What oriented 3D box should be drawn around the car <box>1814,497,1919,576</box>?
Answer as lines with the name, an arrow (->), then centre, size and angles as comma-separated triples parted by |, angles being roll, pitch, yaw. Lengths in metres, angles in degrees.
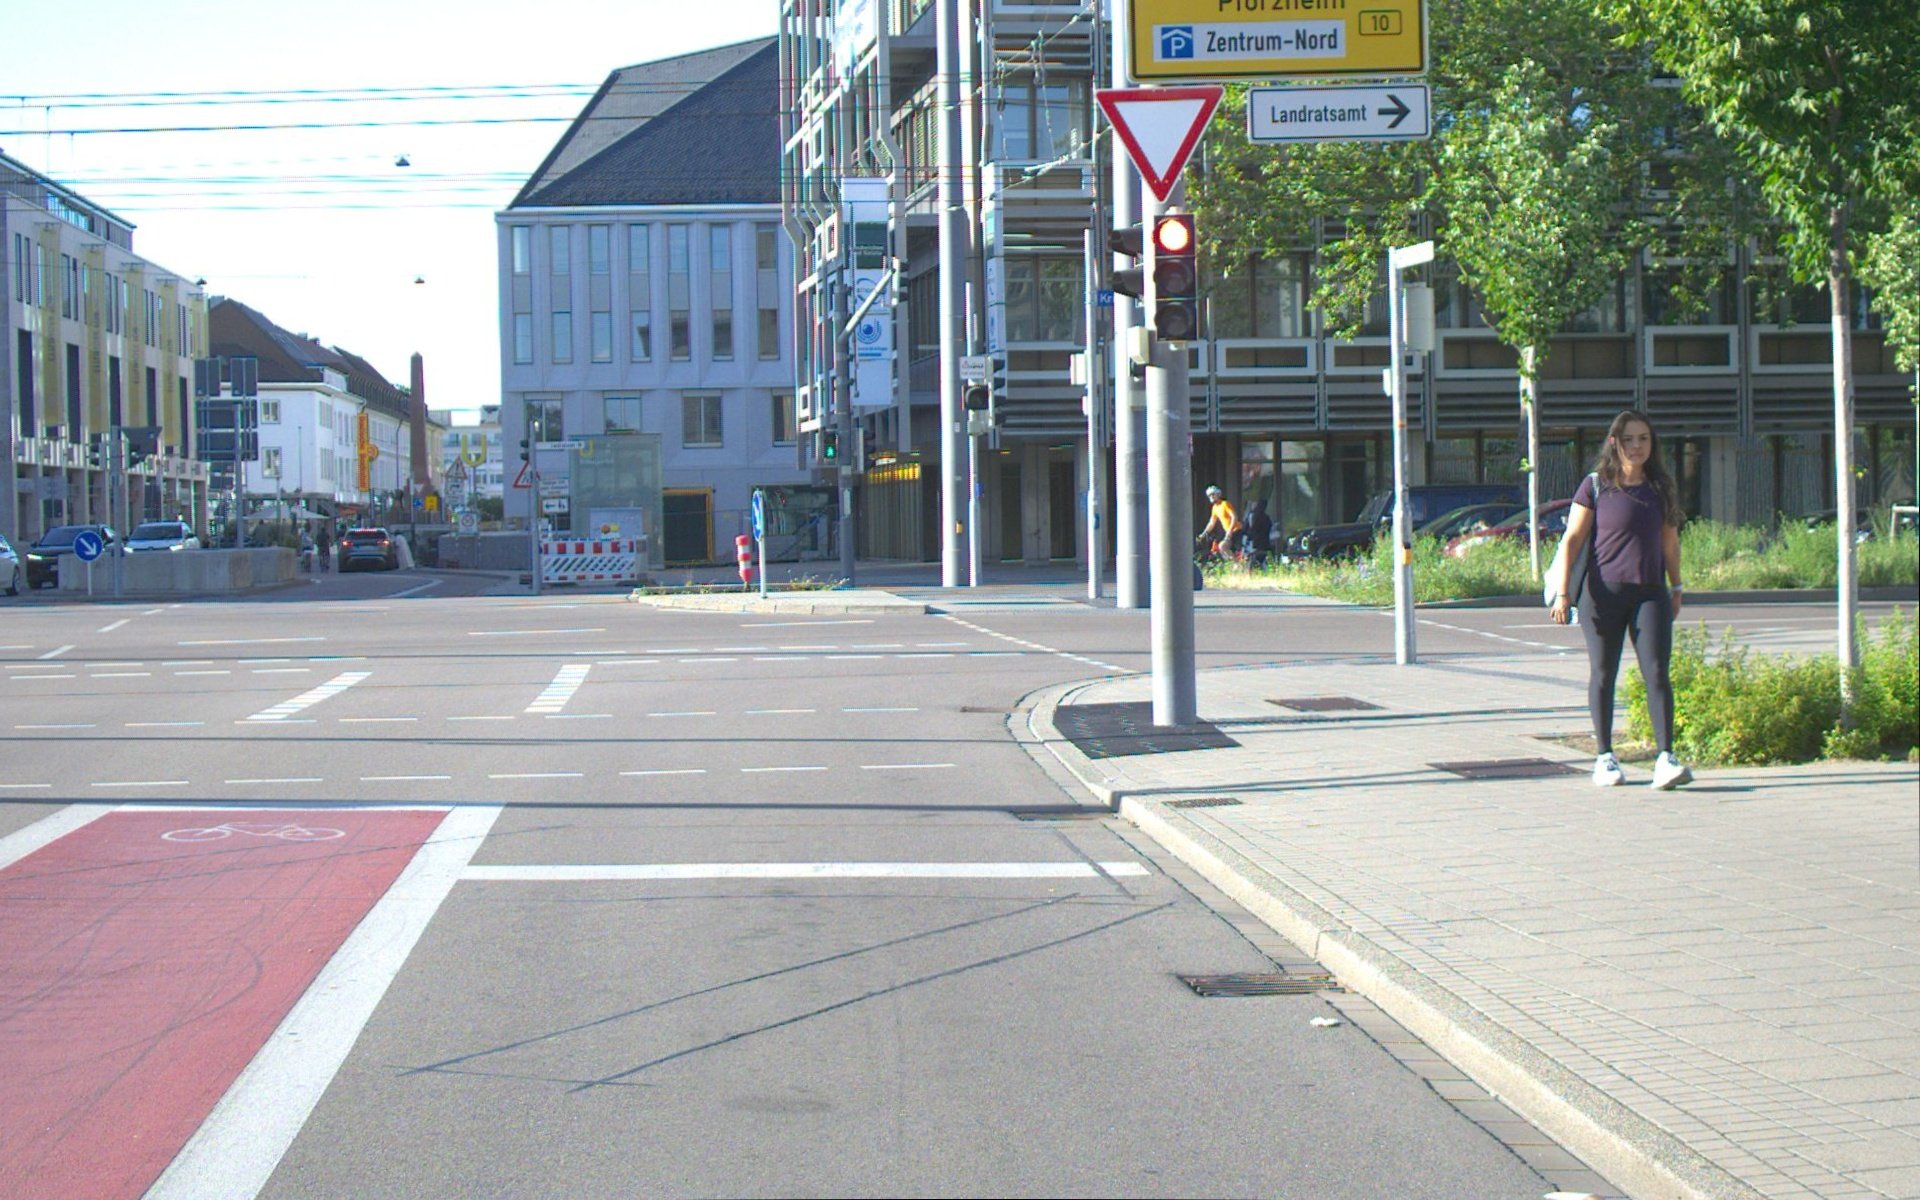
car -> 18.267, -1.205, 63.110 | 4.630, 1.351, 2.001 | -1, 3, -7

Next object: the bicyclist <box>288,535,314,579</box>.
bicyclist -> -22.041, -1.443, 115.022 | 0.746, 1.456, 0.767 | -1, 1, -6

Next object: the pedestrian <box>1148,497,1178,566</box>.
pedestrian -> 4.516, -1.528, 76.611 | 0.623, 1.513, 0.653 | -1, 1, 5

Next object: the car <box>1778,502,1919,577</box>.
car -> 18.476, -1.204, 66.749 | 4.630, 1.351, 2.001 | -1, 3, -7

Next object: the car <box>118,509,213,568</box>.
car -> -22.922, -1.791, 99.340 | 1.993, 1.617, 4.239 | -1, 2, -4

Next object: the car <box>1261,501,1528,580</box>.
car -> 8.177, -1.143, 64.893 | 4.630, 1.351, 2.001 | -1, 3, -7

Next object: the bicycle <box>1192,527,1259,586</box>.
bicycle -> 4.478, -0.732, 58.020 | 1.076, 0.967, 0.458 | -1, 1, -1

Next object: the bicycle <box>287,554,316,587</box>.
bicycle -> -22.038, -0.998, 115.099 | 0.741, 1.042, 2.432 | -1, 2, -7

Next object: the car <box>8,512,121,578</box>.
car -> -22.399, -1.390, 86.122 | 1.993, 1.524, 4.037 | -1, 2, -4

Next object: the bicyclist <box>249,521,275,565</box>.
bicyclist -> -23.148, -1.899, 114.070 | 0.746, 1.456, 0.767 | -1, 1, -6

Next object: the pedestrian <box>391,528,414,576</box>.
pedestrian -> -19.284, -1.664, 118.955 | 0.714, 1.662, 0.988 | -1, 1, -7

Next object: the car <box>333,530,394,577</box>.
car -> -20.494, -1.611, 118.198 | 1.993, 1.546, 4.001 | -1, 2, -10

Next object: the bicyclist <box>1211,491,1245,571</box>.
bicyclist -> 4.523, -1.168, 58.016 | 0.508, 1.333, 0.452 | -1, 1, -1

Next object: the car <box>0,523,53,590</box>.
car -> -21.710, -0.941, 75.729 | 1.994, 1.351, 4.646 | -1, 3, 3

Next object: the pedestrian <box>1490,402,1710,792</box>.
pedestrian -> 2.993, -0.022, 16.014 | 0.822, 1.742, 1.041 | -2, 1, 18

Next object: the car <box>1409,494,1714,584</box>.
car -> 10.000, -1.035, 57.339 | 4.630, 1.351, 2.001 | -1, 3, -7
